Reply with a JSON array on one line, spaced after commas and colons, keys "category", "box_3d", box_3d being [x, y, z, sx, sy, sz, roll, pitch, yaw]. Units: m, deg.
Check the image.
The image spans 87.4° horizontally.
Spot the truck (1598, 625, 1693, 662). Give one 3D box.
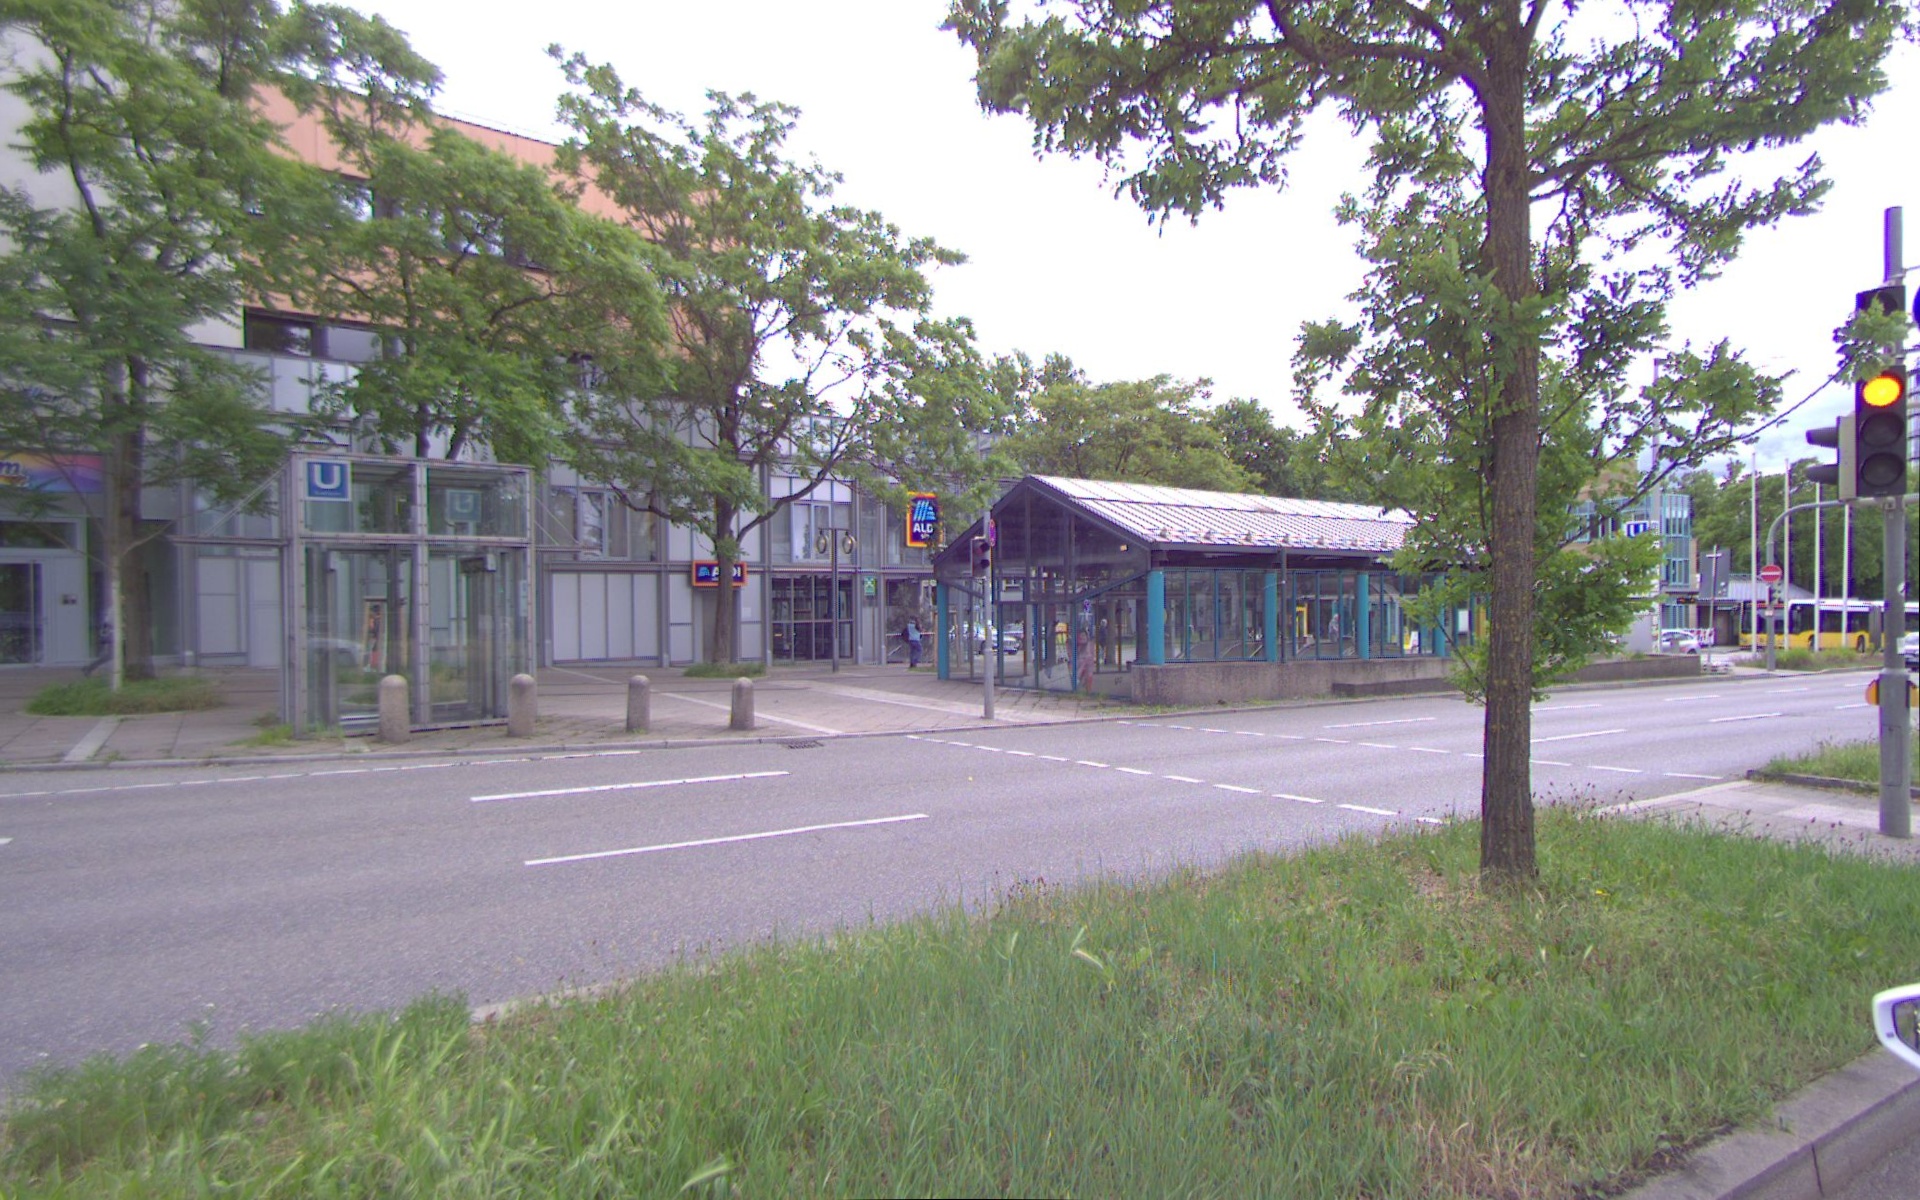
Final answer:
[{"category": "truck", "box_3d": [30.196, 1.880, 44.247, 3.954, 1.537, 1.984, 1, -1, -31]}]

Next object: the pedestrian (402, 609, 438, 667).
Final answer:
[{"category": "pedestrian", "box_3d": [-13.168, 0.925, 24.502, 0.689, 1.393, 0.578, 1, -1, -37]}]

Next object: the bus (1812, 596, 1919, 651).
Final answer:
[{"category": "bus", "box_3d": [57.923, 1.541, 63.773, 7.771, 3.313, 2.980, 1, -1, -26]}]

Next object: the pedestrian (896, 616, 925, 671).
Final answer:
[{"category": "pedestrian", "box_3d": [-1.542, 1.348, 31.293, 0.703, 1.677, 0.517, 1, -1, -37]}]

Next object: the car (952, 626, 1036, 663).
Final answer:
[{"category": "car", "box_3d": [1.655, 2.194, 50.378, 1.769, 1.710, 4.838, 1, -1, -33]}]

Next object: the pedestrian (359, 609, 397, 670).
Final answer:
[{"category": "pedestrian", "box_3d": [-13.548, 0.903, 23.378, 0.689, 1.393, 0.578, 1, -1, -37]}]

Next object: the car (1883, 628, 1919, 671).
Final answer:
[{"category": "car", "box_3d": [37.554, 1.914, 39.170, 3.316, 1.599, 1.673, 1, -1, -36]}]

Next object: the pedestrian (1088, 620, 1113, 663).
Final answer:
[{"category": "pedestrian", "box_3d": [5.376, 1.583, 38.480, 0.655, 1.591, 0.630, 2, 0, -35]}]

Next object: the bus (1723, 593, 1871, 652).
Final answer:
[{"category": "bus", "box_3d": [49.927, 1.380, 59.832, 10.036, 3.293, 2.980, 1, -1, -26]}]

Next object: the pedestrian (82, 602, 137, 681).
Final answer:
[{"category": "pedestrian", "box_3d": [-16.484, 0.796, 19.480, 0.748, 1.499, 0.525, 1, -1, -36]}]

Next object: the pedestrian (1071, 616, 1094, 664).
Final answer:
[{"category": "pedestrian", "box_3d": [4.355, 1.413, 35.692, 0.649, 1.689, 0.635, 2, 0, -8]}]

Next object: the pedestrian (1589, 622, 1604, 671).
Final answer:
[{"category": "pedestrian", "box_3d": [21.299, 1.543, 33.632, 0.412, 1.612, 0.356, 0, -1, 31]}]

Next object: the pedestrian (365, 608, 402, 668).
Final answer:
[{"category": "pedestrian", "box_3d": [-13.771, 0.899, 24.009, 0.689, 1.393, 0.578, 1, -1, -37]}]
